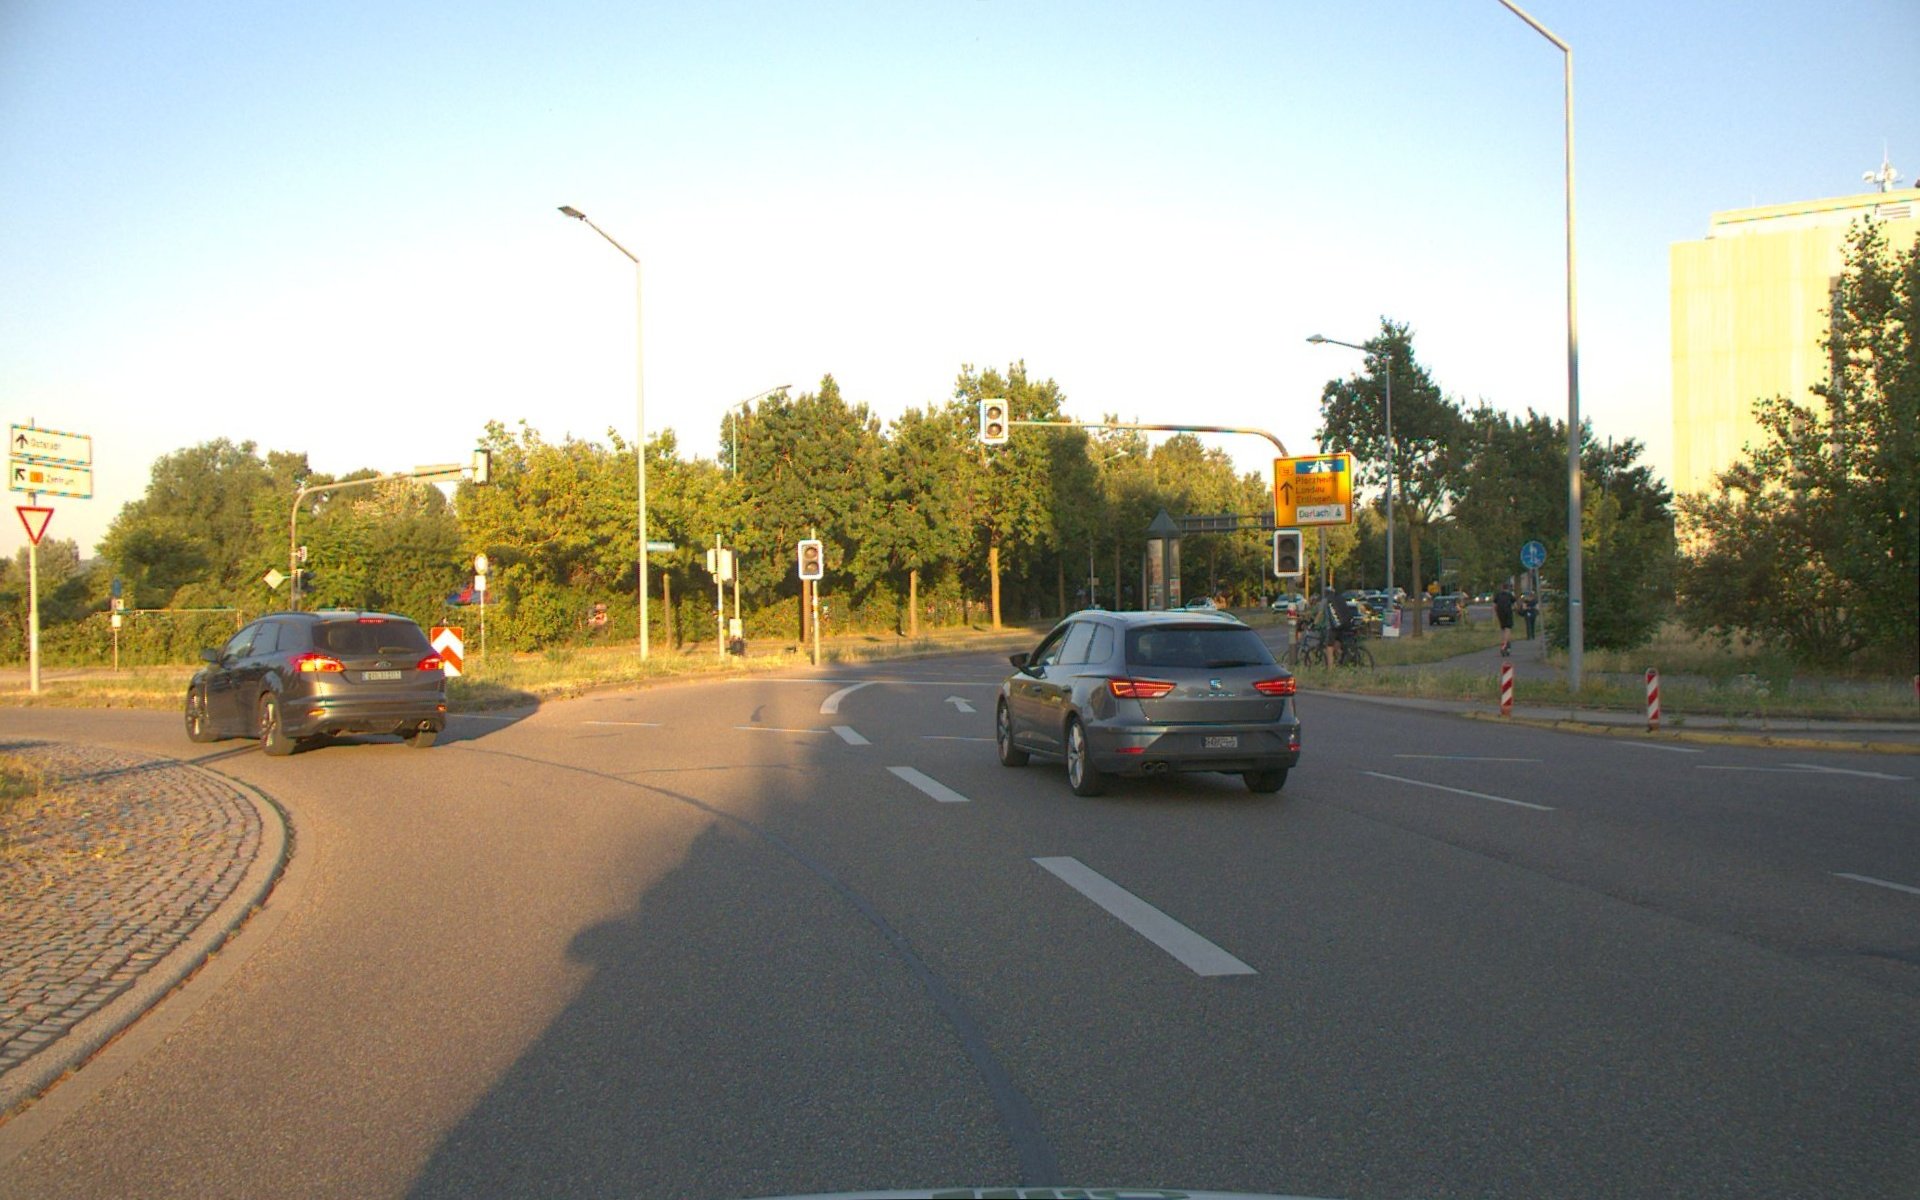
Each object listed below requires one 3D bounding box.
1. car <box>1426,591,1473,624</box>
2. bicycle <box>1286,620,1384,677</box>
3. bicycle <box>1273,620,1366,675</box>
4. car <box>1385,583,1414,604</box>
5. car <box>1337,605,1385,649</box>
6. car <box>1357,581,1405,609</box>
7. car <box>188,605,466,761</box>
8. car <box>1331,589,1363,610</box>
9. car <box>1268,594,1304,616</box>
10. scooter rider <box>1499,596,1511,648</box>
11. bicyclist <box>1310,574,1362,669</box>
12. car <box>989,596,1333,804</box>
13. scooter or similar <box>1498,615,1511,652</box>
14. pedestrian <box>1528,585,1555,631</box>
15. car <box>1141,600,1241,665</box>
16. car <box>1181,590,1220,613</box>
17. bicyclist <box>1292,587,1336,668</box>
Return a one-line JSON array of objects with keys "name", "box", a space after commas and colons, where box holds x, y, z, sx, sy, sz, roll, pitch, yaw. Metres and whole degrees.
[{"name": "car", "box": [25.540, 0.370, 86.260, 1.867, 1.646, 3.999, -1, 0, 23]}, {"name": "bicycle", "box": [7.786, 1.000, 34.347, 1.883, 1.104, 0.456, -3, -1, 23]}, {"name": "bicycle", "box": [7.870, 1.046, 36.231, 1.883, 1.104, 0.456, -4, -1, 23]}, {"name": "car", "box": [41.027, -0.598, 154.397, 1.877, 1.785, 4.920, -2, -1, 23]}, {"name": "car", "box": [15.273, 1.000, 63.005, 1.708, 1.514, 4.138, -1, 1, 14]}, {"name": "car", "box": [23.300, -0.277, 91.417, 1.953, 1.496, 3.999, -1, 0, 23]}, {"name": "car", "box": [-7.134, 0.818, 18.402, 1.734, 1.492, 4.077, -1, 1, -39]}, {"name": "car", "box": [32.672, -0.010, 139.500, 1.762, 1.661, 4.453, -2, -1, 25]}, {"name": "car", "box": [23.602, 0.332, 119.659, 1.687, 1.474, 4.548, -1, 0, 23]}, {"name": "scooter rider", "box": [14.183, 0.571, 43.038, 0.258, 1.362, 0.407, -1, 0, 14]}, {"name": "bicyclist", "box": [7.811, 0.441, 34.349, 0.888, 1.931, 0.641, -3, -1, 22]}, {"name": "car", "box": [1.523, 0.713, 14.086, 1.715, 1.449, 4.123, -1, 1, -11]}, {"name": "scooter or similar", "box": [14.154, 0.856, 43.018, 0.241, 0.930, 1.040, -1, 0, 14]}, {"name": "pedestrian", "box": [20.186, 0.278, 57.410, 0.778, 1.577, 0.567, -1, 0, 25]}, {"name": "car", "box": [6.169, 0.828, 43.861, 1.775, 1.551, 4.136, -1, 1, 20]}, {"name": "car", "box": [16.230, 0.076, 111.631, 1.519, 1.468, 3.482, -2, -1, 27]}, {"name": "bicyclist", "box": [7.798, 0.602, 36.408, 0.752, 1.731, 0.641, -3, -1, 22]}]
